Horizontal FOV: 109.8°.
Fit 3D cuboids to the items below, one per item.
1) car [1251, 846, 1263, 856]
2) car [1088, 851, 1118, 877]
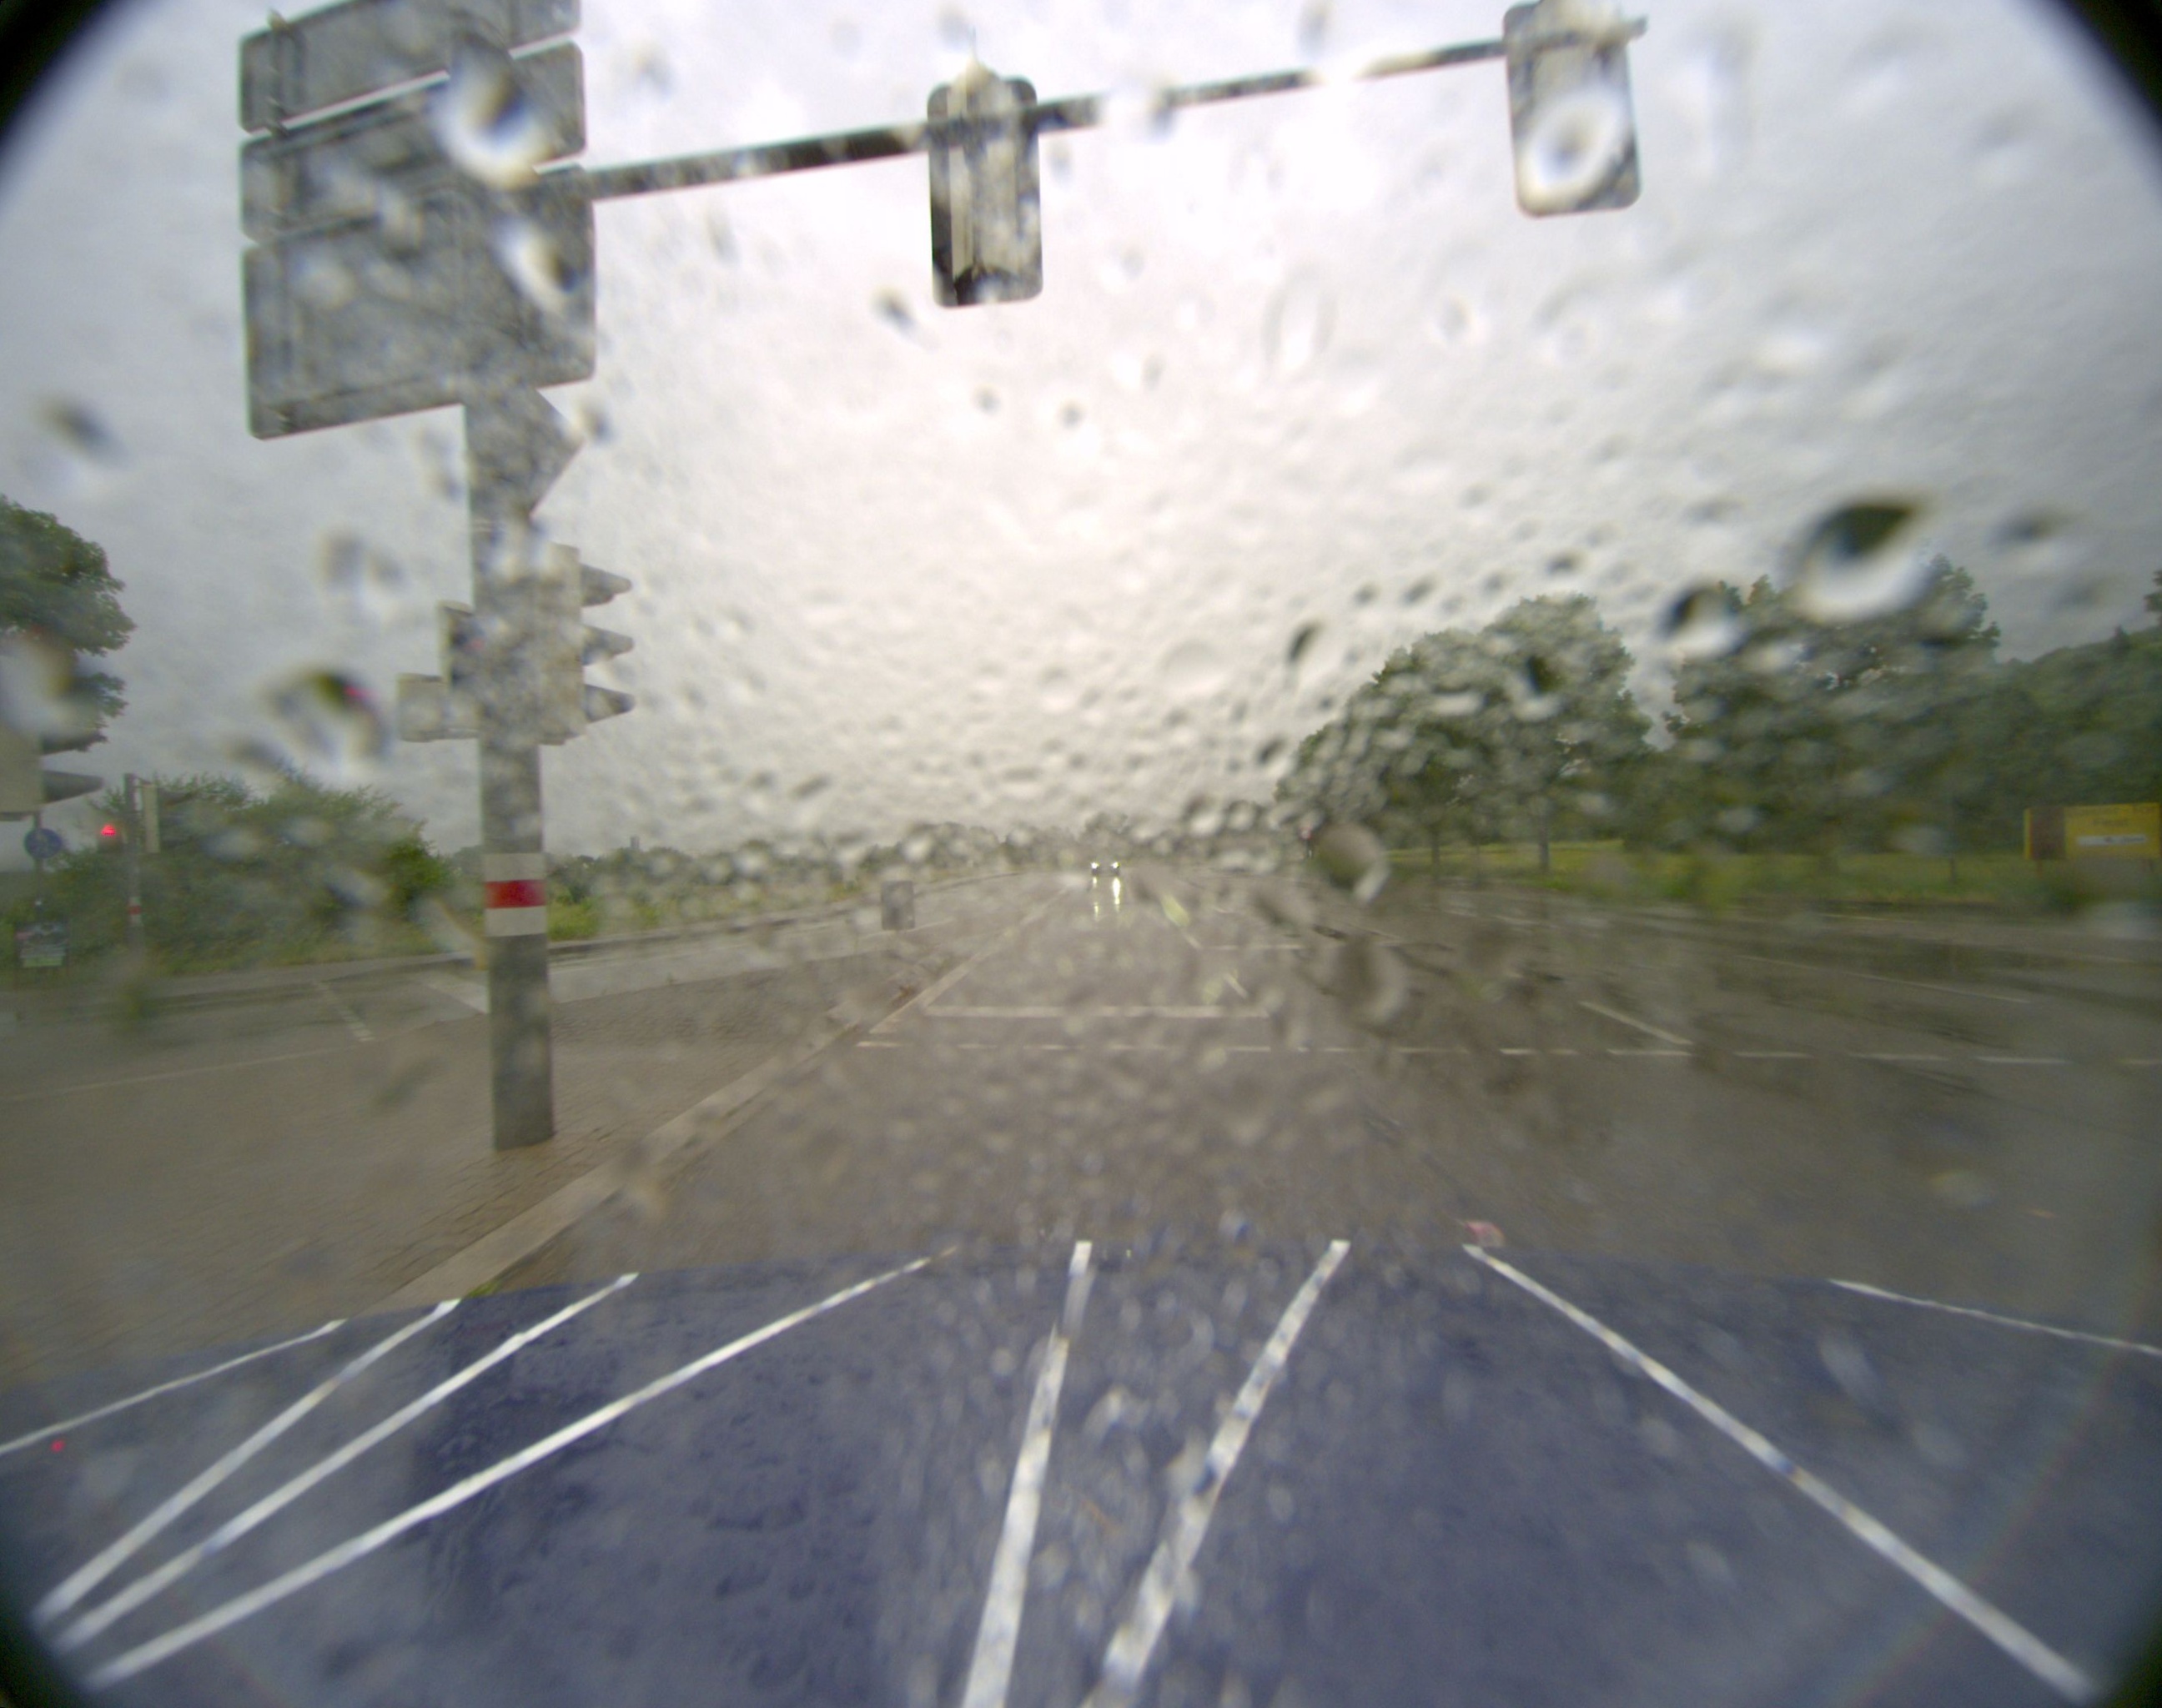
[{"bbox_3d":[34.840,-0.600,150.439,1.913,1.678,4.108,-2,1,19],"label":"car"},{"bbox_3d":[1.516,0.648,52.357,1.916,1.576,4.103,-2,1,2],"label":"car"}]
